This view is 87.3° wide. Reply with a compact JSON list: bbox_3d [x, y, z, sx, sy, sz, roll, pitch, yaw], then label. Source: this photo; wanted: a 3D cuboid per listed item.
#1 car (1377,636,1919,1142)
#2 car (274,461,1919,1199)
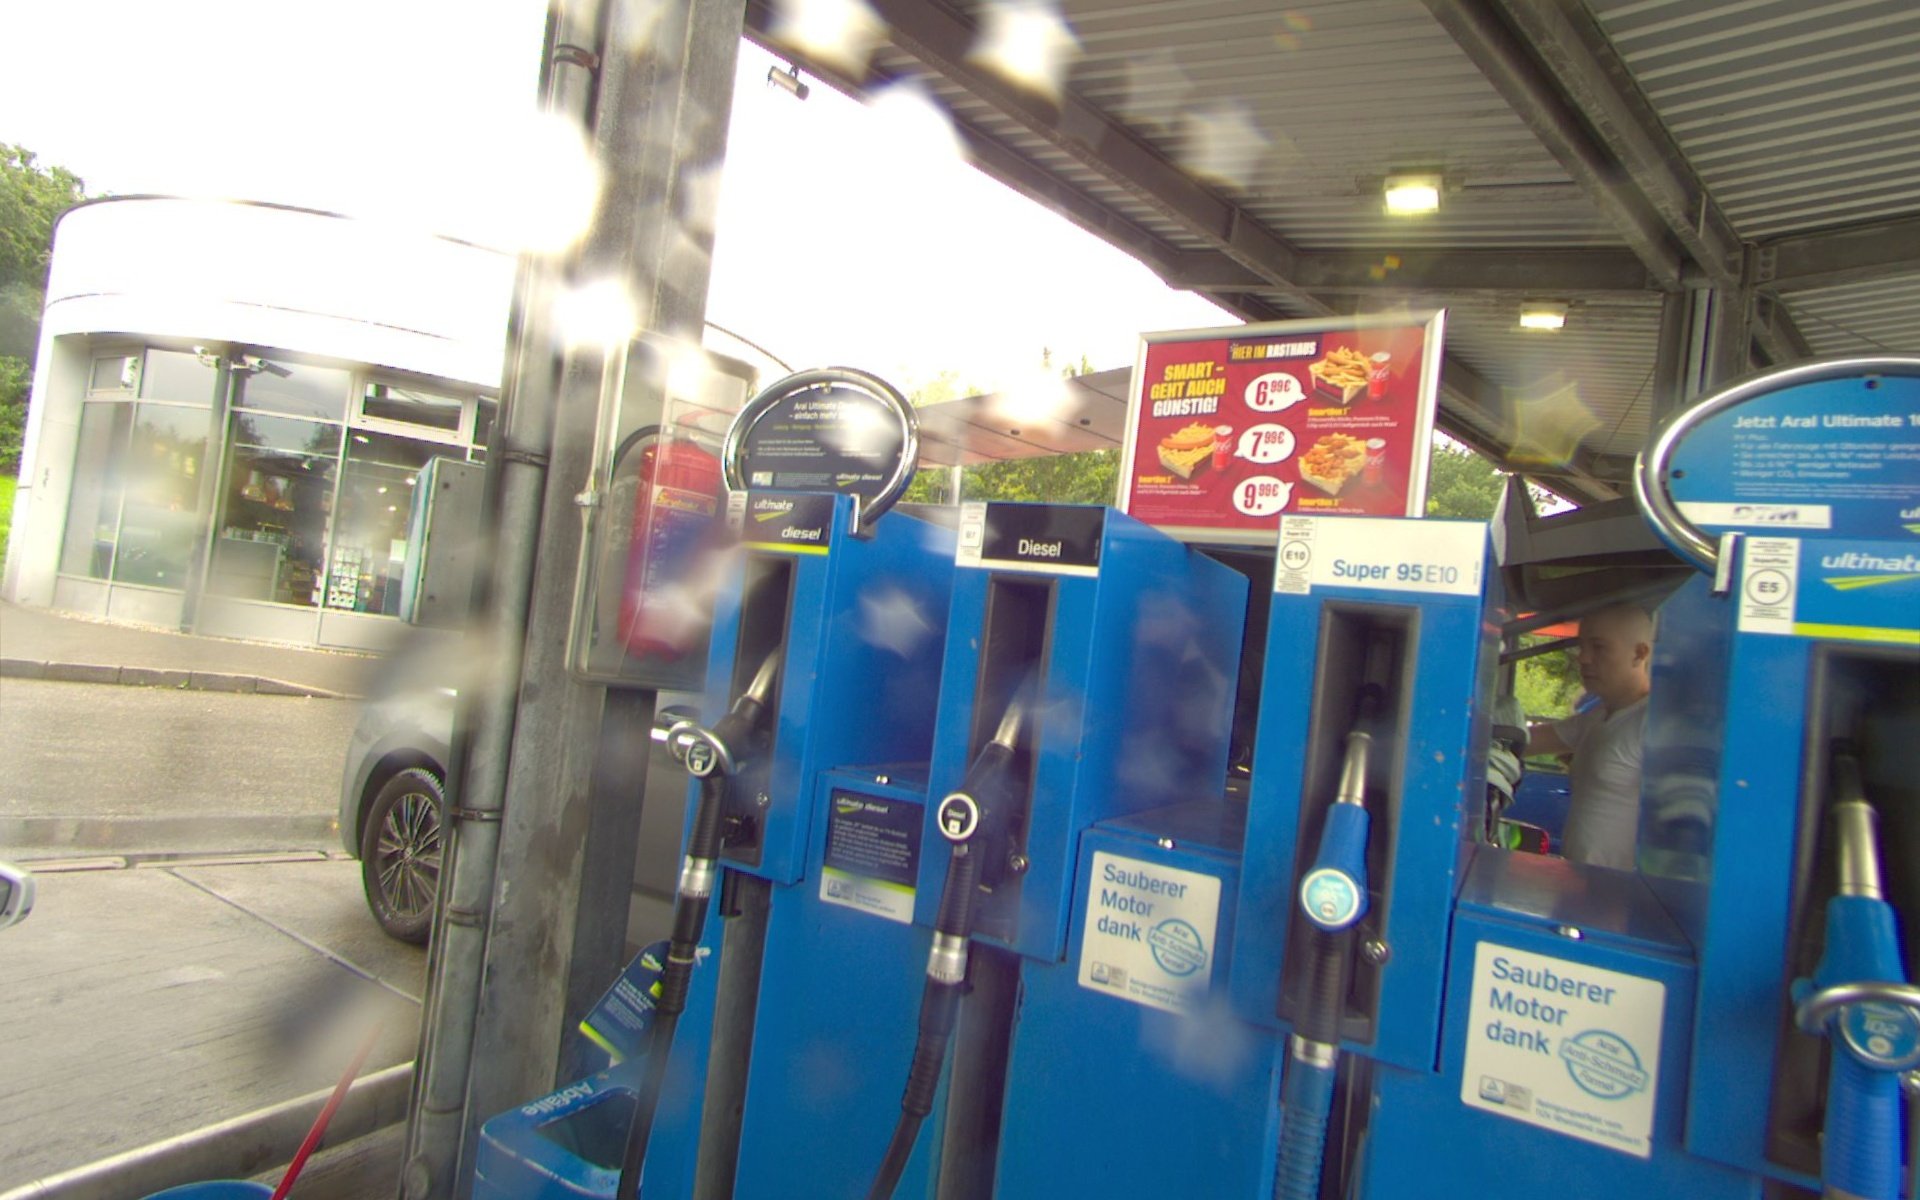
[{"bbox_3d":[4.589,1.382,4.742,4.464,1.819,1.865,6,-2,32],"label":"car"},{"bbox_3d":[-0.139,0.646,3.668,5.055,1.819,1.865,6,-2,32],"label":"car"}]
